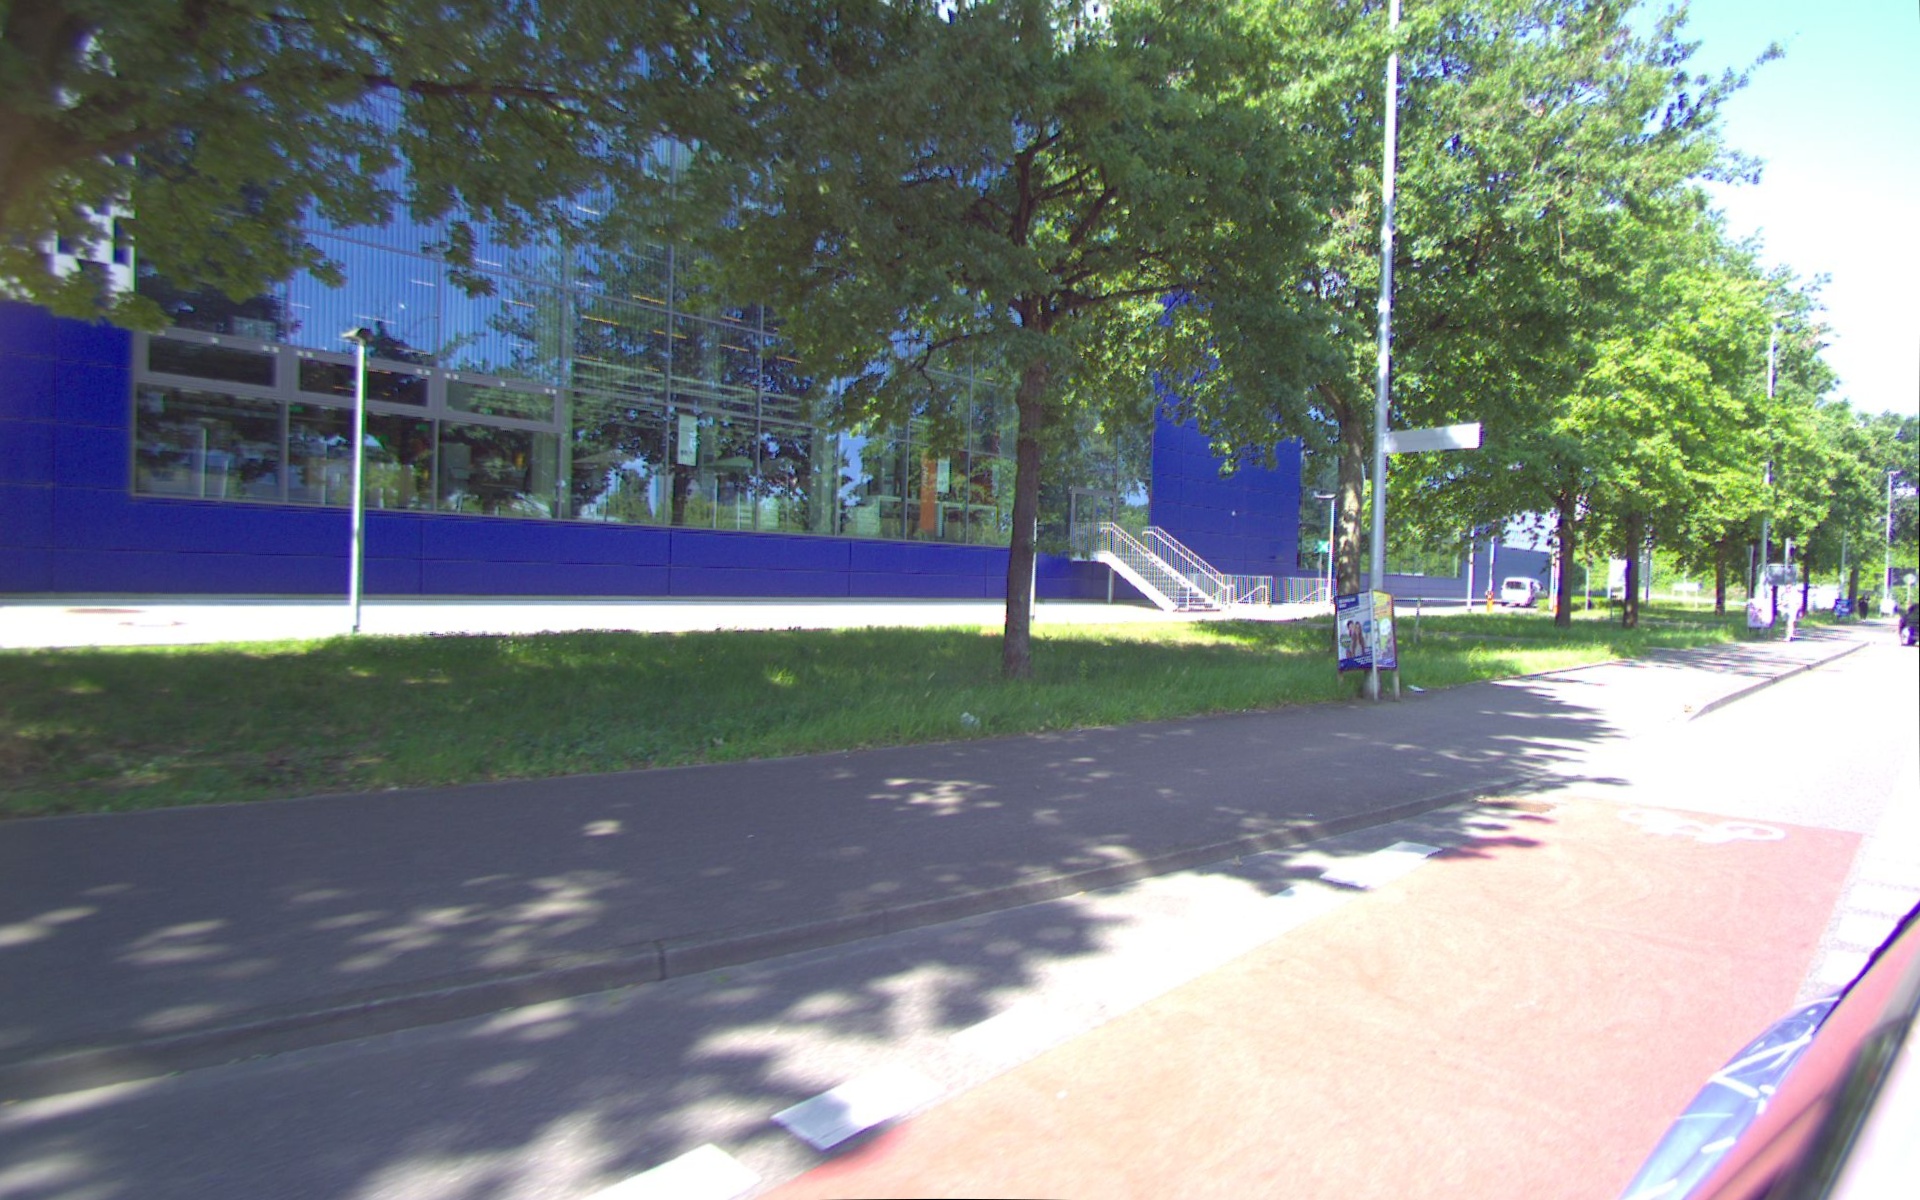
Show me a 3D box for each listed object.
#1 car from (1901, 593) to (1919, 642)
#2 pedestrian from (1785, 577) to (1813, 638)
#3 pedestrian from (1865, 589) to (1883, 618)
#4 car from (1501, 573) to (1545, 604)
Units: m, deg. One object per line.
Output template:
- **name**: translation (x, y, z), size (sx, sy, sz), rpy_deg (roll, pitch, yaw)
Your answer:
- **car**: translation (31.356, 0.617, 31.326), size (1.891, 1.539, 4.338), rpy_deg (2, 2, 24)
- **pedestrian**: translation (25.982, 0.230, 31.330), size (0.715, 1.864, 0.535), rpy_deg (0, 2, -44)
- **pedestrian**: translation (51.608, 0.205, 57.118), size (0.832, 1.623, 0.648), rpy_deg (1, 2, -43)
- **car**: translation (34.945, -0.727, 62.778), size (1.900, 1.851, 4.126), rpy_deg (3, 2, 36)
